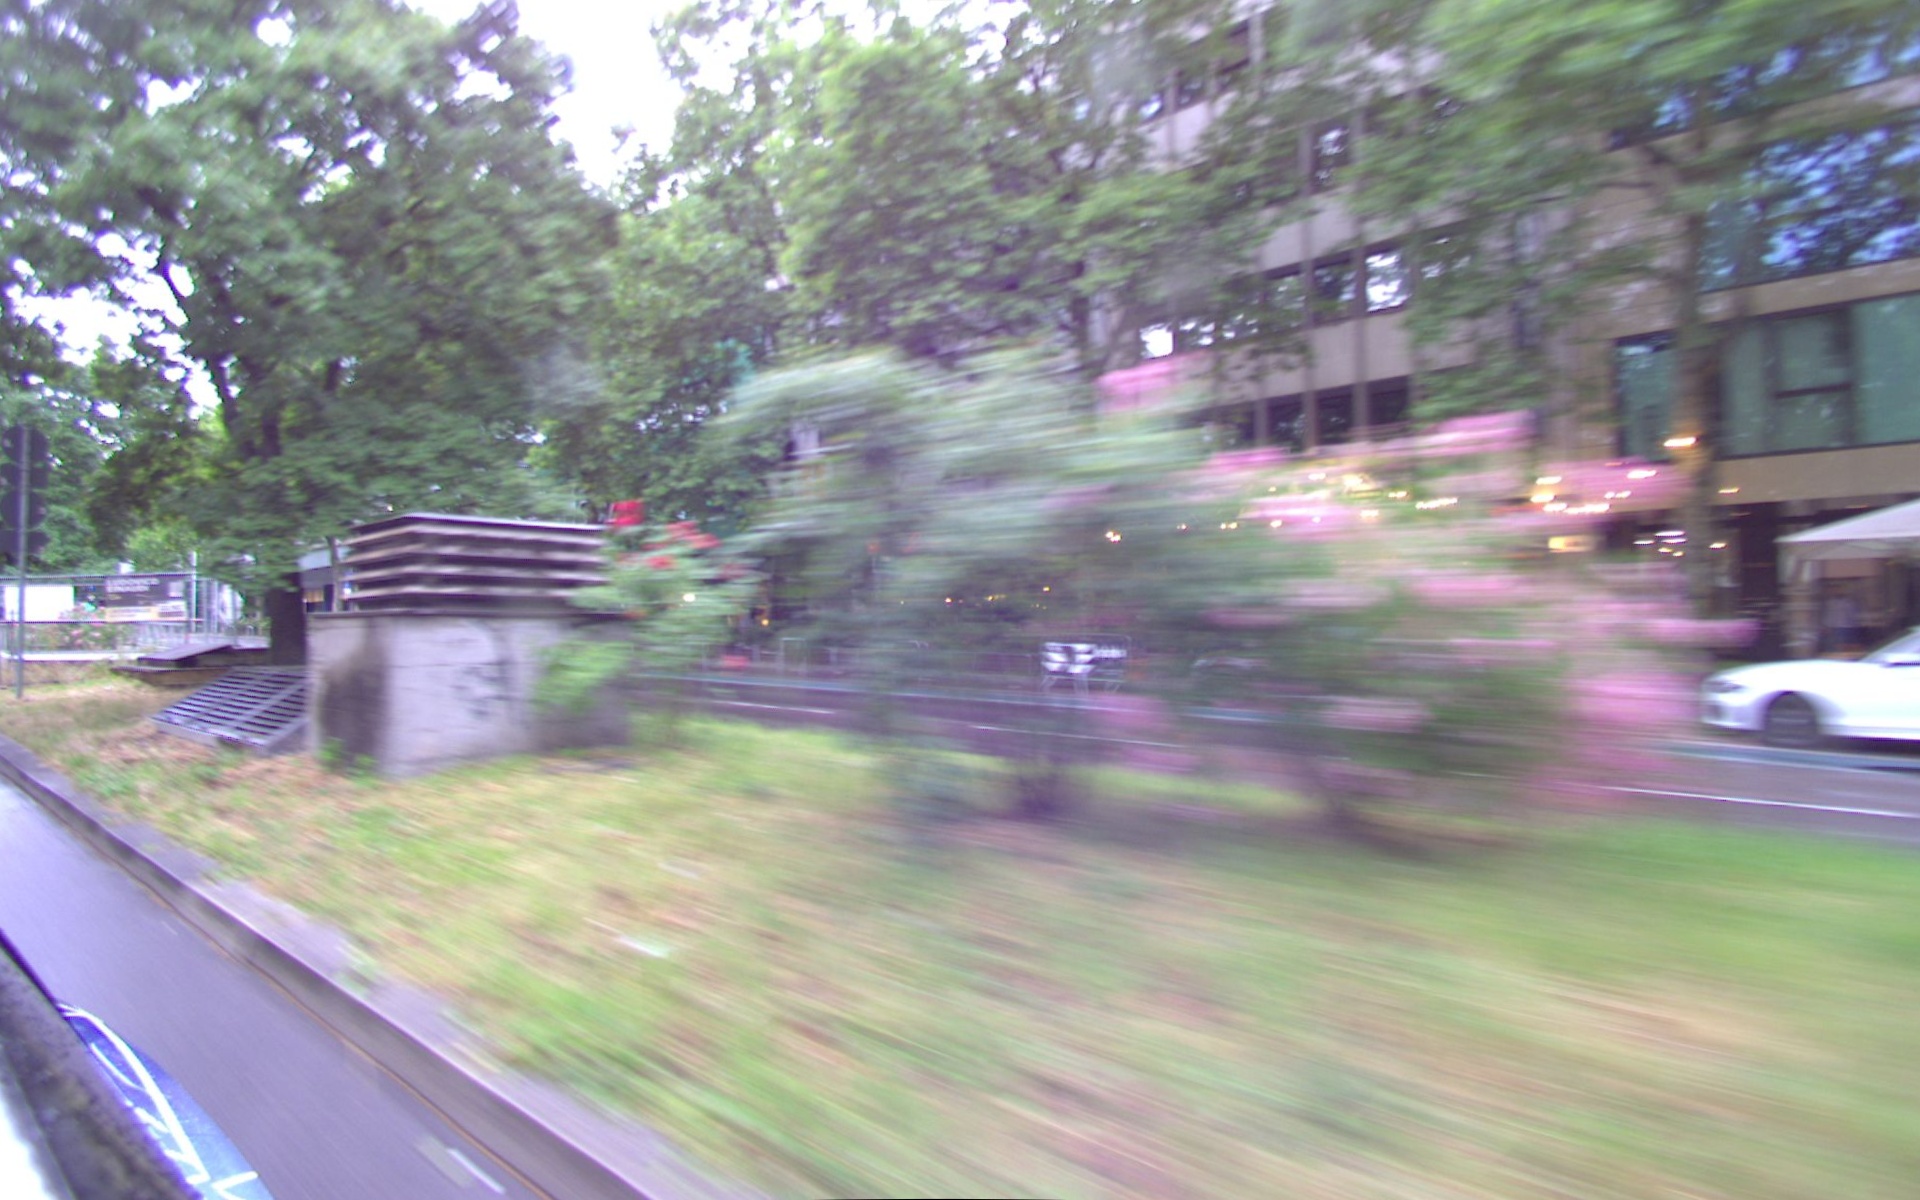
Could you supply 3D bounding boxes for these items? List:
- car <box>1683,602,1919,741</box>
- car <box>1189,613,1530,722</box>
[{"bbox_3d":[10.816,0.744,11.083,4.537,1.380,1.973,-2,1,41],"label":"car"},{"bbox_3d":[5.925,0.928,15.358,4.481,1.405,1.806,-1,-1,41],"label":"car"}]
